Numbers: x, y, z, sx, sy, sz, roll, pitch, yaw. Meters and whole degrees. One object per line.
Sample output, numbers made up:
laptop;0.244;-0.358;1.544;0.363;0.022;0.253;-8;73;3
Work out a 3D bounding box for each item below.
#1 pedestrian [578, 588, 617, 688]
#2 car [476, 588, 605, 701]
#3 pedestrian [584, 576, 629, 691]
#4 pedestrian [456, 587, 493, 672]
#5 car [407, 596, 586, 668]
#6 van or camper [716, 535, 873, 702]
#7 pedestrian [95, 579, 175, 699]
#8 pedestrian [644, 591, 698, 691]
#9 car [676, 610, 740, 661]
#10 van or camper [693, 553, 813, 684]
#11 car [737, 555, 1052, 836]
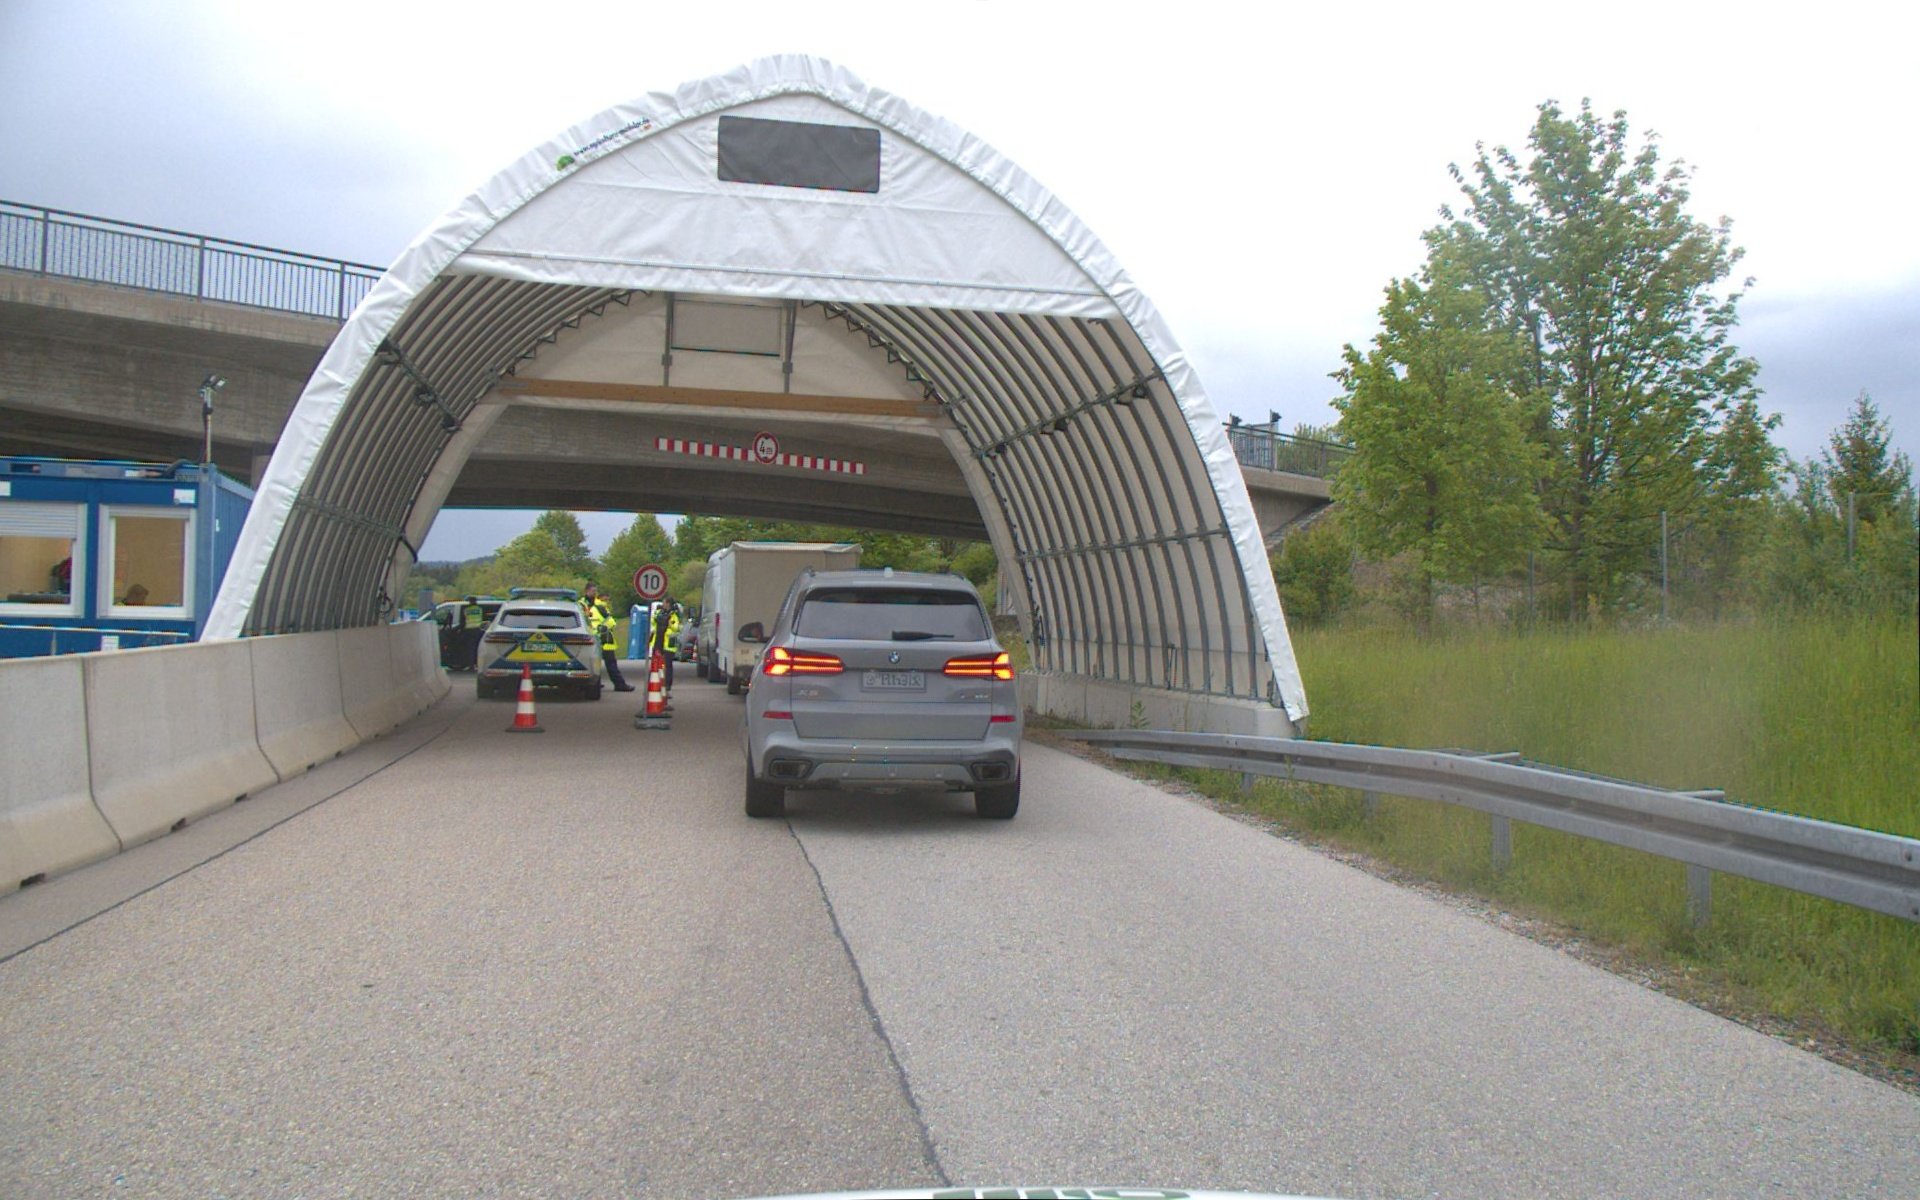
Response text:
pedestrian;-6.510;0.676;29.731;0.597;1.784;0.665;0;-1;-6
car;-6.737;0.677;26.572;1.846;1.675;3.984;0;-1;-15
pedestrian;-6.153;0.576;28.768;0.736;1.952;0.760;0;-1;-15
pedestrian;-11.826;0.722;40.334;0.686;2.049;0.692;0;-1;-1
car;-13.623;0.921;48.735;4.703;2.049;1.842;0;-1;7
van or camper;-3.054;0.319;29.083;2.190;2.597;6.593;0;-1;-11
pedestrian;-9.831;0.462;19.724;0.597;1.397;0.628;0;-1;8
pedestrian;-5.165;0.728;29.547;0.746;1.752;0.774;0;-1;-31
car;-8.906;1.223;58.180;1.959;1.752;3.883;0;-1;-13
van or camper;-4.503;0.387;35.325;2.067;2.563;5.534;0;-1;-12
car;-0.674;0.630;12.736;1.957;1.796;3.991;0;-1;-9
